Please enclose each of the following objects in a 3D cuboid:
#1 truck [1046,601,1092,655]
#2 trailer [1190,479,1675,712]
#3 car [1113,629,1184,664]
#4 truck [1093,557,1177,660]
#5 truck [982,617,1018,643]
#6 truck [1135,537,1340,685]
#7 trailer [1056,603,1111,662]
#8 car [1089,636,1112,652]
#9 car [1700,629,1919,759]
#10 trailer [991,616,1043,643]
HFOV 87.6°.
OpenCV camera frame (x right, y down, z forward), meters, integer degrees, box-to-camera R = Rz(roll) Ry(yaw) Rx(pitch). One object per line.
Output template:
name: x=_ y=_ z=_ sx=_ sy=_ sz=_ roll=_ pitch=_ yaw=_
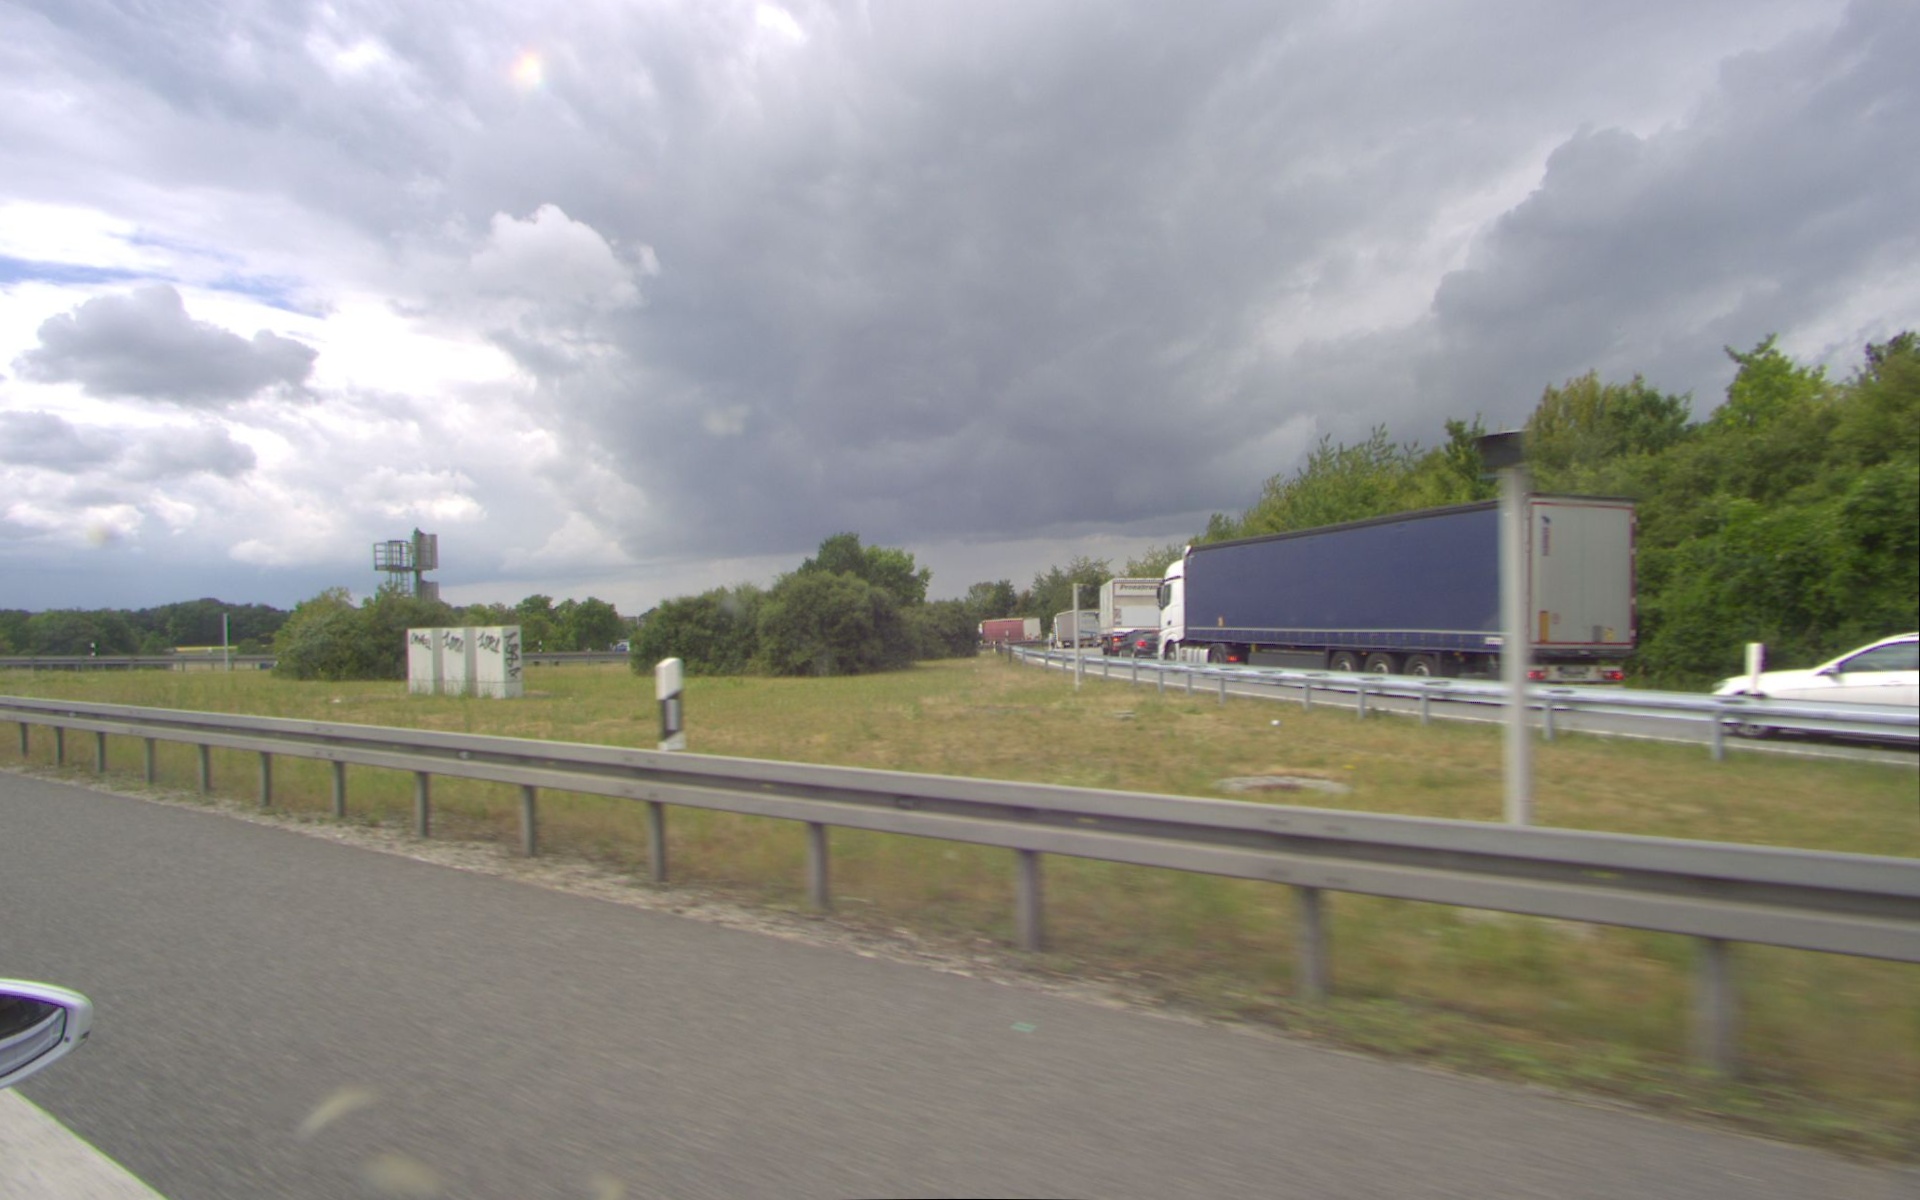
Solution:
truck: x=12.870 y=3.401 z=119.254 sx=3.990 sy=6.149 sz=8.982 roll=0 pitch=-2 yaw=-4
trailer: x=10.338 y=0.117 z=24.928 sx=3.281 sy=4.246 sz=13.017 roll=0 pitch=-2 yaw=-15
car: x=7.685 y=1.877 z=41.186 sx=1.854 sy=1.380 sz=4.789 roll=0 pitch=-2 yaw=-2
truck: x=8.577 y=0.554 z=50.056 sx=3.219 sy=4.674 sz=8.996 roll=0 pitch=-2 yaw=4
truck: x=5.567 y=4.284 z=141.768 sx=3.066 sy=3.543 sz=6.595 roll=1 pitch=-2 yaw=-17
truck: x=8.503 y=0.420 z=31.770 sx=3.310 sy=4.147 sz=6.781 roll=0 pitch=-1 yaw=-15
trailer: x=13.387 y=3.588 z=109.785 sx=3.940 sy=6.165 sz=12.101 roll=0 pitch=-2 yaw=-3
car: x=13.565 y=4.234 z=96.902 sx=1.798 sy=1.505 sz=4.002 roll=0 pitch=-2 yaw=1
car: x=12.455 y=1.140 z=12.480 sx=2.177 sy=1.520 sz=4.773 roll=0 pitch=-1 yaw=-23
trailer: x=7.613 y=4.075 z=135.305 sx=3.079 sy=3.492 sz=11.671 roll=1 pitch=-2 yaw=-17
